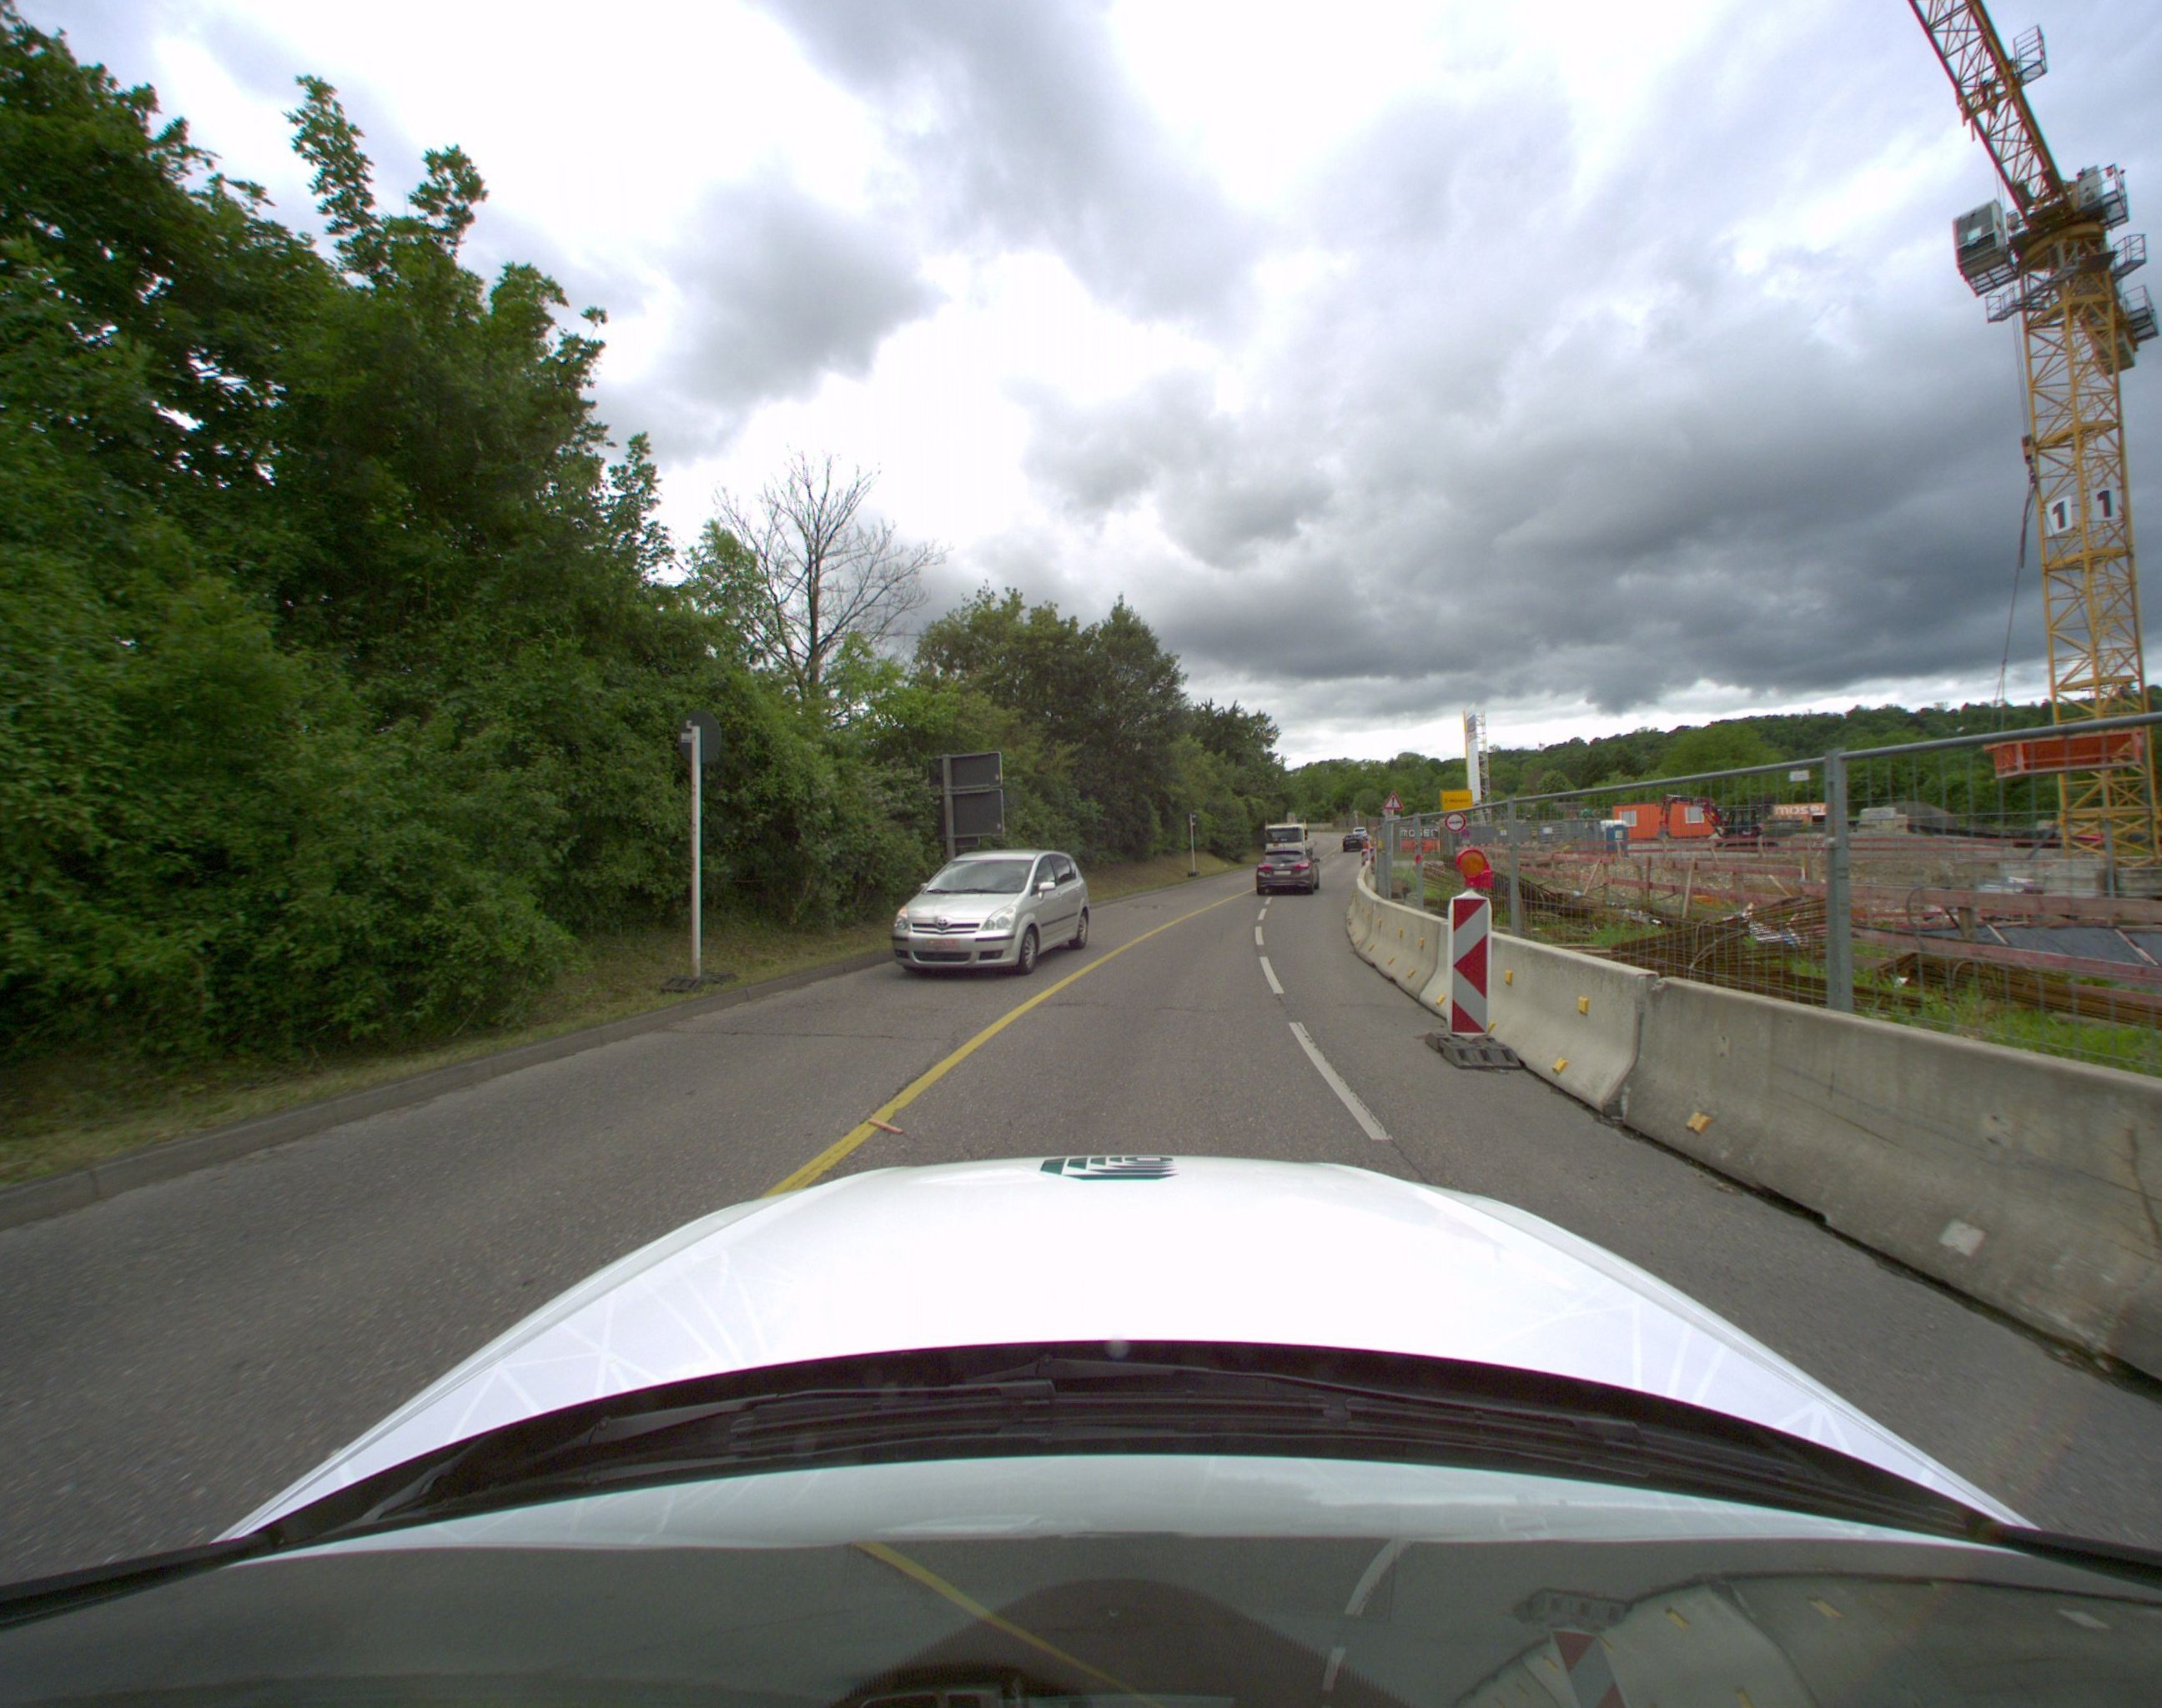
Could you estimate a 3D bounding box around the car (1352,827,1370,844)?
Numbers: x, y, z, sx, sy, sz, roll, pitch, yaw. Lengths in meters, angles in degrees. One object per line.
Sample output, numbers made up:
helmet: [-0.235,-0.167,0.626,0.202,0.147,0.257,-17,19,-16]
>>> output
car: [31.257,-2.073,90.920,1.698,1.675,4.018,-3,-1,18]

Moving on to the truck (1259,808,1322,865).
truck: [13.882,-1.187,53.487,2.795,3.335,8.426,-3,1,21]

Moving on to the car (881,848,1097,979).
car: [-1.101,0.711,11.849,1.644,1.552,4.204,-1,0,15]

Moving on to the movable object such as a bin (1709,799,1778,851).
movable object such as a bin: [41.714,-1.784,51.327,2.768,3.077,1.850,-4,-1,20]

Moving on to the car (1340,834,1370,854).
car: [22.909,-0.858,68.024,1.802,1.552,3.811,-1,0,26]

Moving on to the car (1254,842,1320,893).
car: [6.932,0.427,27.166,1.783,1.552,4.019,-1,0,19]
